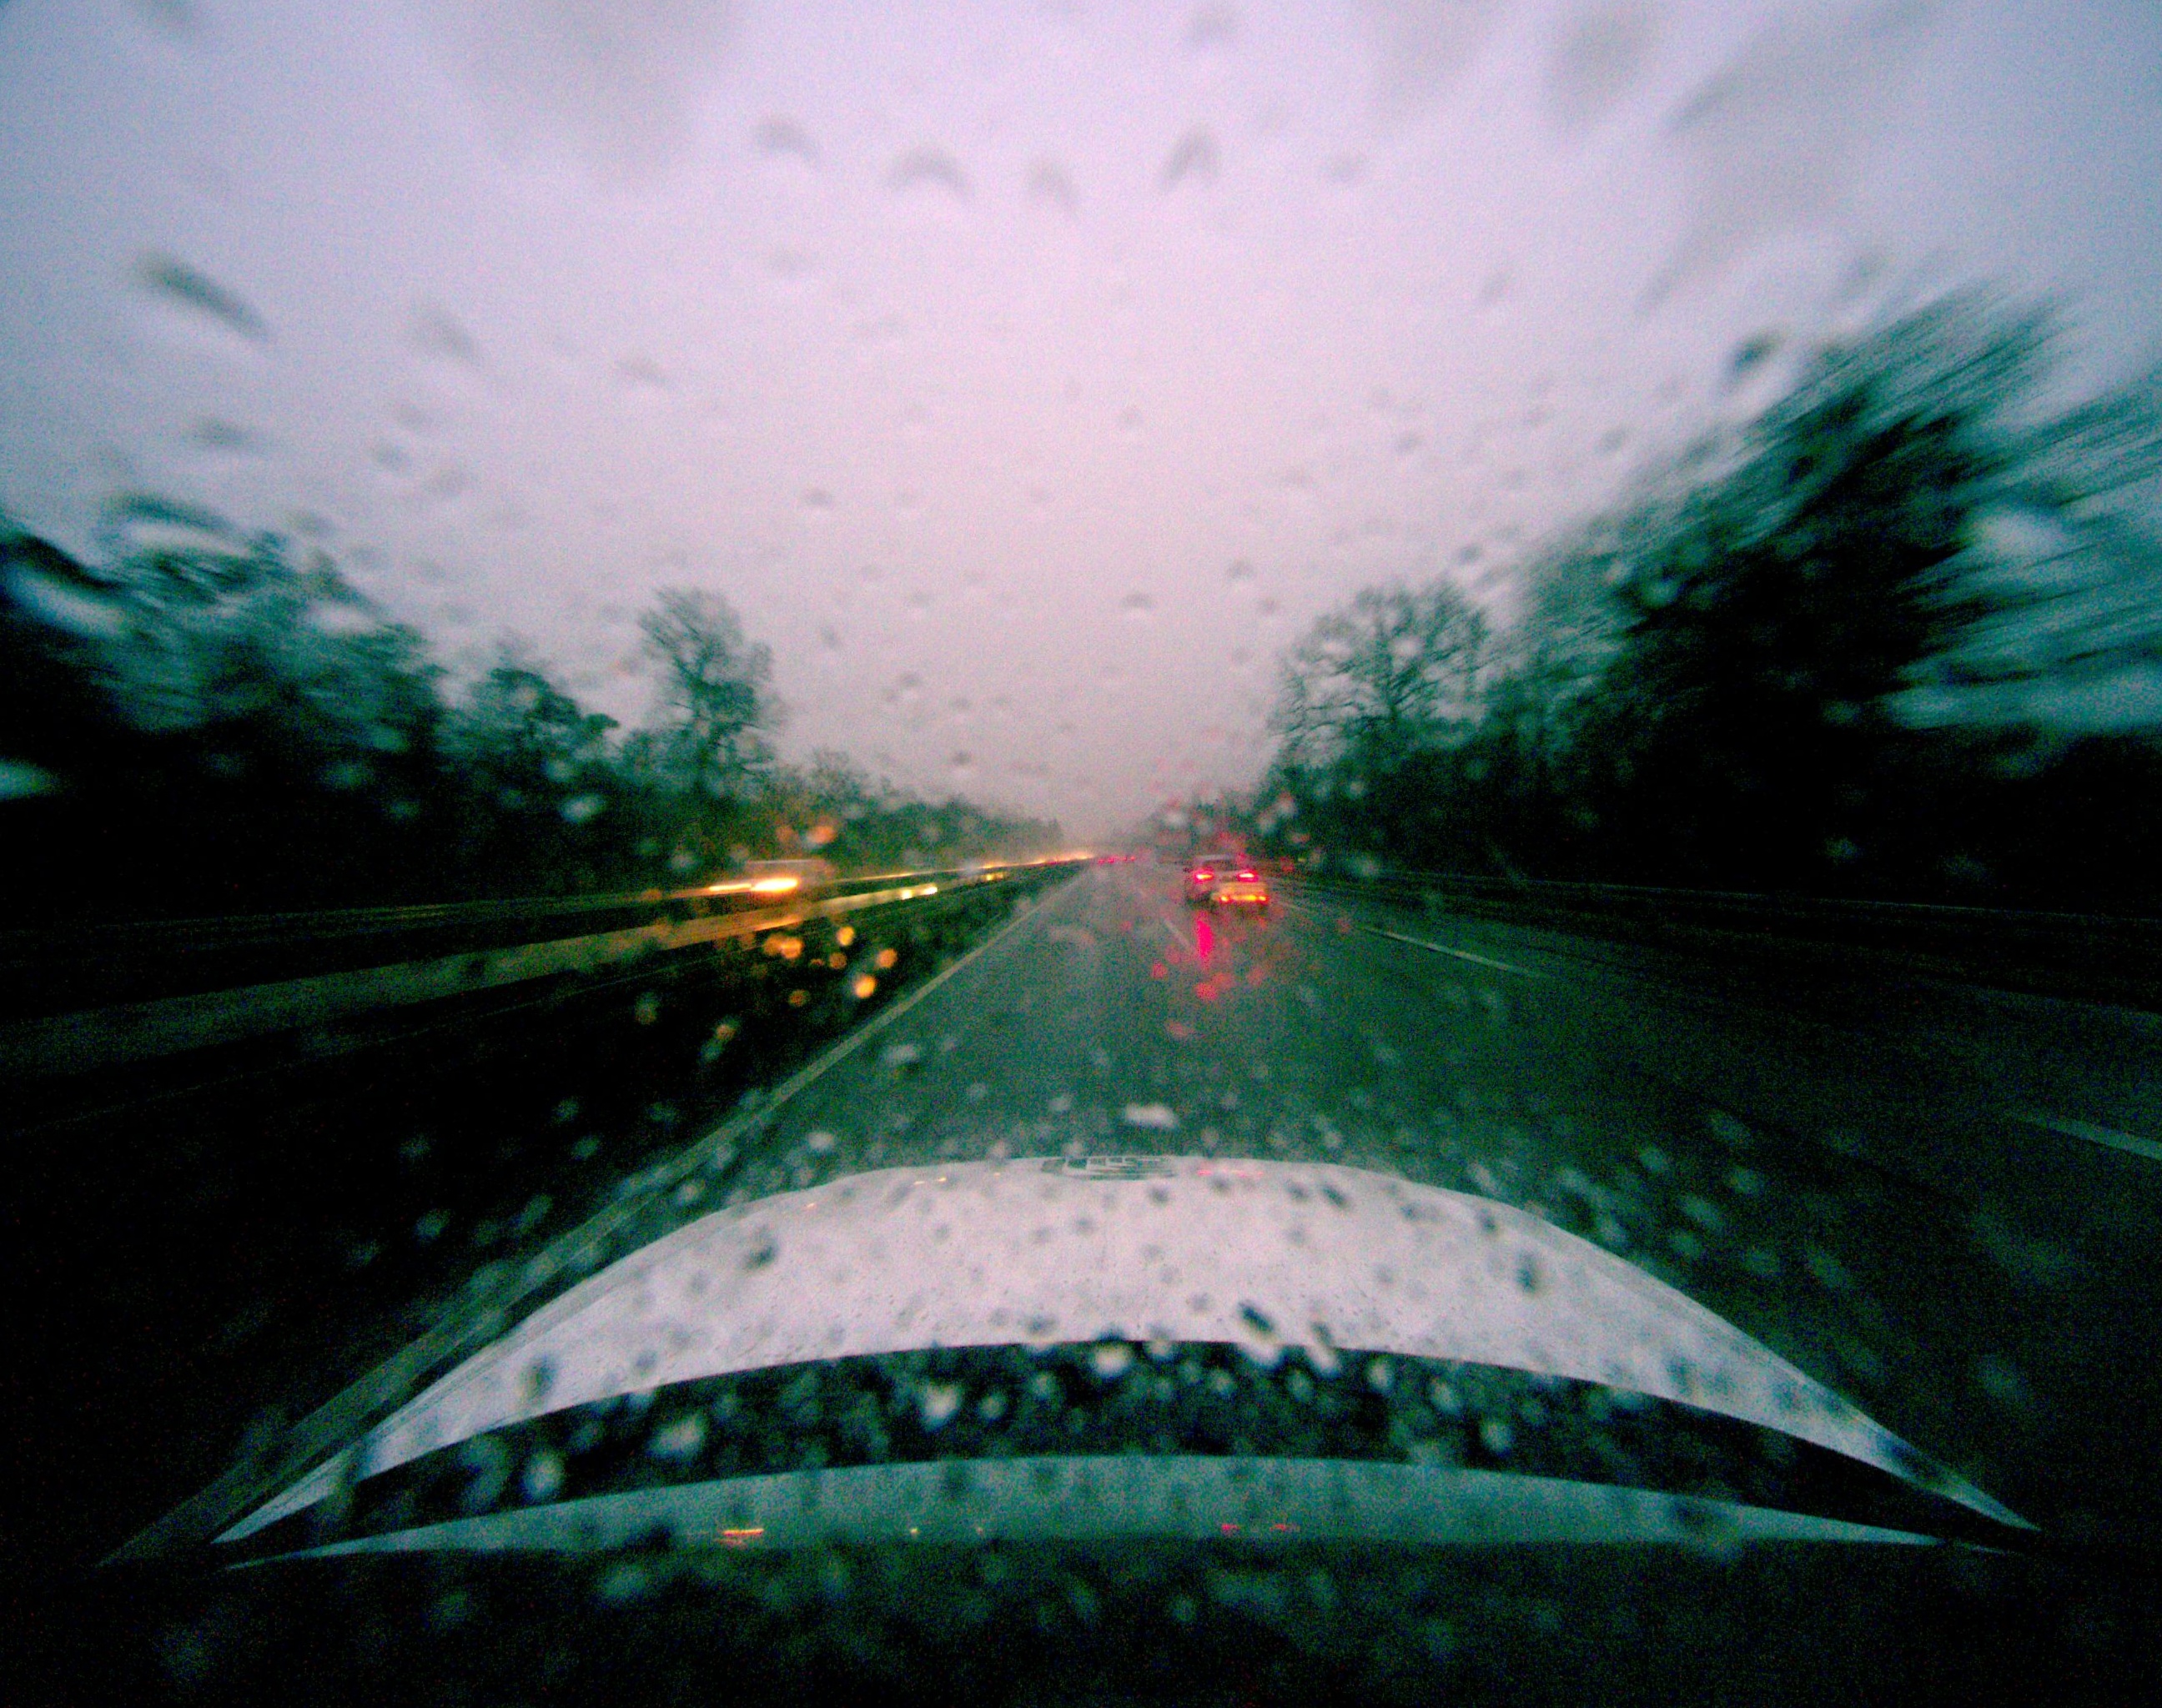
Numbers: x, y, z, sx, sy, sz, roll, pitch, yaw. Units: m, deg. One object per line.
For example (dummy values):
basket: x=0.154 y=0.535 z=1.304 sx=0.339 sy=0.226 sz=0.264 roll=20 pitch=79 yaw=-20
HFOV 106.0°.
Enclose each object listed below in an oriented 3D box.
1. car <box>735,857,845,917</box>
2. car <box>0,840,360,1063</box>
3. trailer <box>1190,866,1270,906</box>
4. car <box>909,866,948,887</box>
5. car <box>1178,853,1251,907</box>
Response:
car: x=-10.705 y=1.159 z=30.448 sx=1.986 sy=2.014 sz=5.259 roll=-2 pitch=-1 yaw=2
car: x=-10.936 y=0.913 z=9.009 sx=1.852 sy=2.081 sz=4.464 roll=0 pitch=0 yaw=2
trailer: x=4.084 y=0.866 z=22.675 sx=1.741 sy=0.925 sz=2.952 roll=-3 pitch=0 yaw=2
car: x=-10.528 y=1.534 z=56.501 sx=1.698 sy=1.351 sz=4.158 roll=-2 pitch=0 yaw=2
car: x=4.192 y=0.775 z=26.077 sx=1.780 sy=1.516 sz=3.813 roll=-3 pitch=0 yaw=2
